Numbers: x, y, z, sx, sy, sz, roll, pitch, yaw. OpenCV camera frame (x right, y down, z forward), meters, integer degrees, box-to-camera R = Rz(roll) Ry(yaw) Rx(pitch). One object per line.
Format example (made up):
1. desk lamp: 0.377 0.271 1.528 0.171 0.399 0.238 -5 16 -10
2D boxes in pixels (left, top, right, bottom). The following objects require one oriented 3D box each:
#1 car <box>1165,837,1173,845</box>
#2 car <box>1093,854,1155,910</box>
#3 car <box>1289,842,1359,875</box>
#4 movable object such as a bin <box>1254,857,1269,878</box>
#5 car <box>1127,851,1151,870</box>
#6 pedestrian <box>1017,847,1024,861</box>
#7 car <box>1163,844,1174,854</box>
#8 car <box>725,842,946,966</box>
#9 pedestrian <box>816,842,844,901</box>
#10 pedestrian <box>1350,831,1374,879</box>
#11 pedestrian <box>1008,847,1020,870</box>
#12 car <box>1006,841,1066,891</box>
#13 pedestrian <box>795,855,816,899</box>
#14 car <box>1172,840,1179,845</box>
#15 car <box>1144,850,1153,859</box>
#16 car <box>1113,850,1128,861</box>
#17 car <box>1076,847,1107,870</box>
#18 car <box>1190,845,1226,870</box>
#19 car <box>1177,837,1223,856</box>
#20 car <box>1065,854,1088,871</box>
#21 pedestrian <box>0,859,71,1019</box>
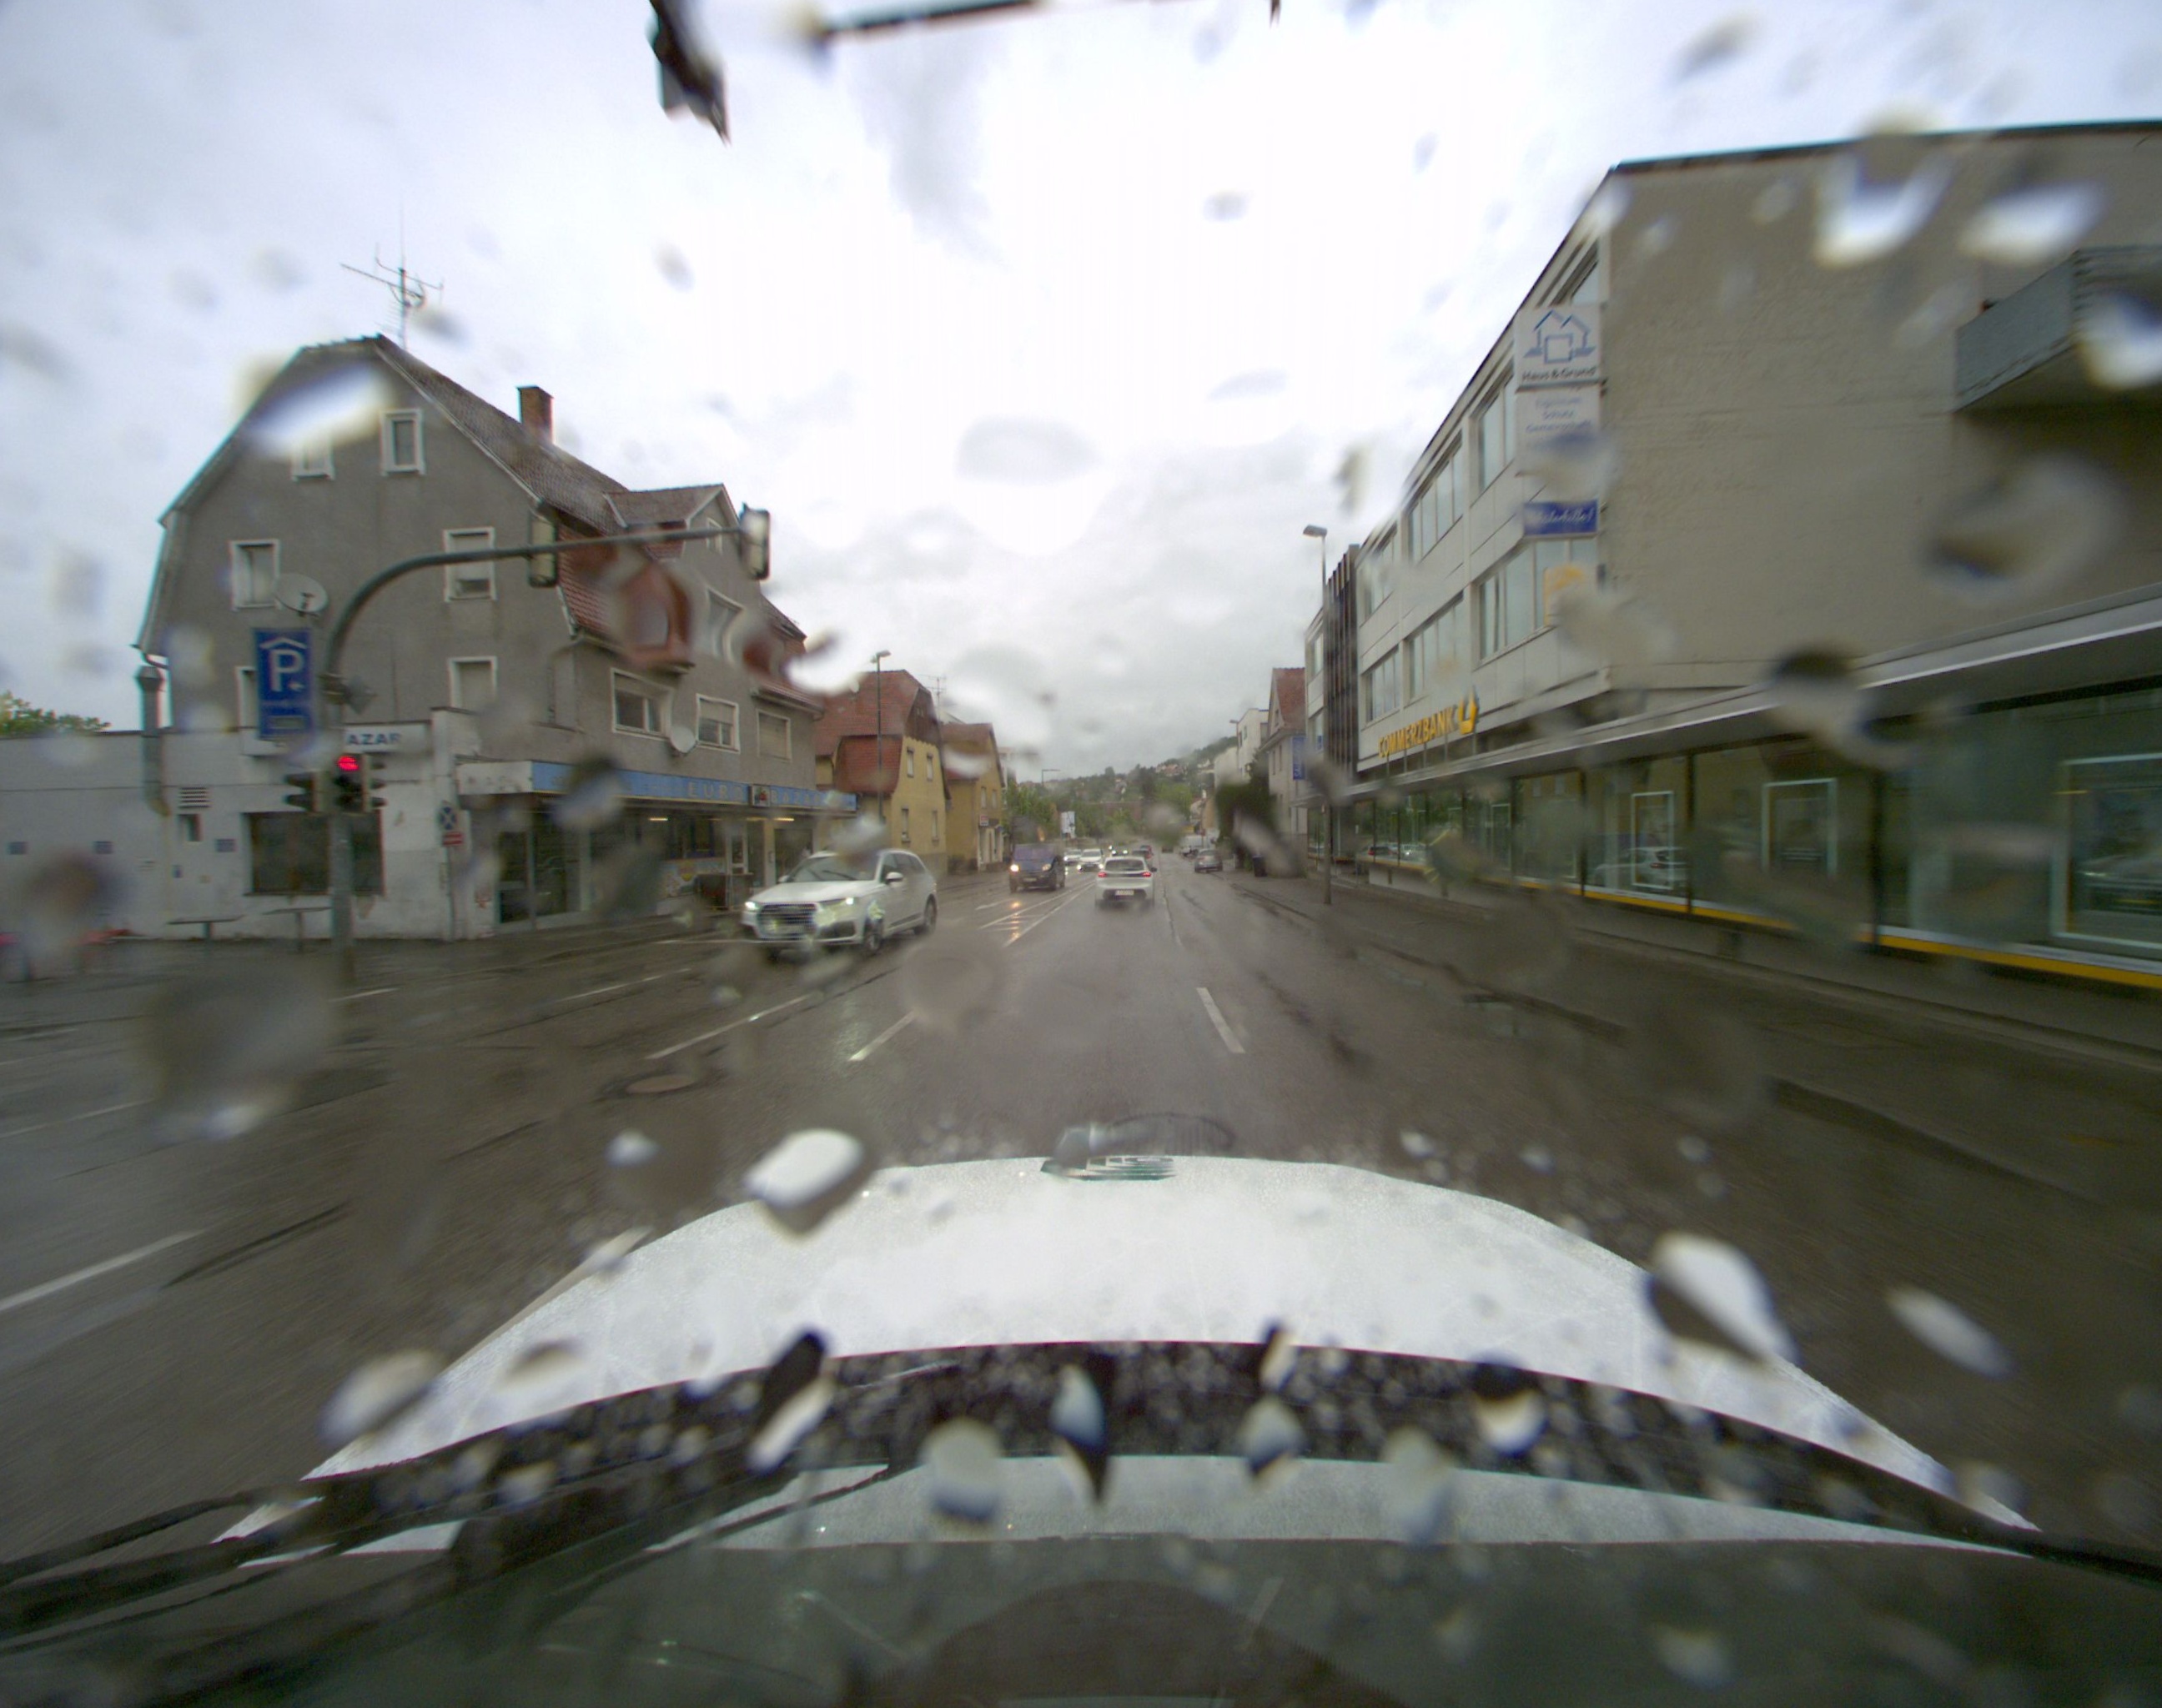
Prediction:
1. car: 22.355 -3.333 206.454 1.984 2.014 4.006 -2 -1 5
2. car: 1.368 0.805 24.417 1.683 1.519 3.938 -1 -1 5
3. car: 12.302 0.240 41.414 1.359 1.502 3.308 -4 1 -29
4. movable object such as a bin: 9.336 0.679 42.147 0.573 1.048 0.831 -2 1 5
5. car: 4.406 0.451 61.241 1.733 1.295 3.338 -2 0 5
6. pedestrian: -7.814 0.044 104.658 0.806 1.738 1.003 -2 -1 0
7. car: 14.428 -0.848 134.674 1.726 1.387 3.357 0 4 4
8. car: -3.930 0.747 14.086 2.090 1.712 4.853 -2 -1 3
9. pedestrian: -8.348 0.576 27.113 0.659 1.921 0.946 1 -1 -3
10. pedestrian: 10.588 0.020 30.731 0.724 1.780 0.956 -1 1 13
11. pedestrian: -5.273 0.385 63.978 0.797 1.788 0.883 -2 -1 4
12. car: -1.842 0.499 34.890 1.957 1.938 5.183 -2 -1 3
13. pedestrian: -9.868 0.826 29.143 0.540 1.557 0.447 -1 -1 5
14. car: 20.966 -2.586 180.413 1.378 1.126 2.614 -2 -1 5
15. car: 10.084 0.079 121.047 1.208 1.156 2.272 -1 -1 3
16. car: 5.203 0.190 106.377 1.760 1.413 4.531 -2 -1 5
17. car: 0.814 0.366 60.207 1.869 1.609 4.724 -1 -1 5
18. car: 8.563 0.275 55.177 2.003 1.622 4.363 0 -2 3
19. car: 15.685 -0.992 106.675 6.662 2.382 2.270 -1 -1 -43
20. car: -0.433 0.815 77.891 1.641 1.418 4.145 -4 -1 6
21. pedestrian: -12.590 0.965 9.150 0.921 1.788 1.235 -2 -1 3
